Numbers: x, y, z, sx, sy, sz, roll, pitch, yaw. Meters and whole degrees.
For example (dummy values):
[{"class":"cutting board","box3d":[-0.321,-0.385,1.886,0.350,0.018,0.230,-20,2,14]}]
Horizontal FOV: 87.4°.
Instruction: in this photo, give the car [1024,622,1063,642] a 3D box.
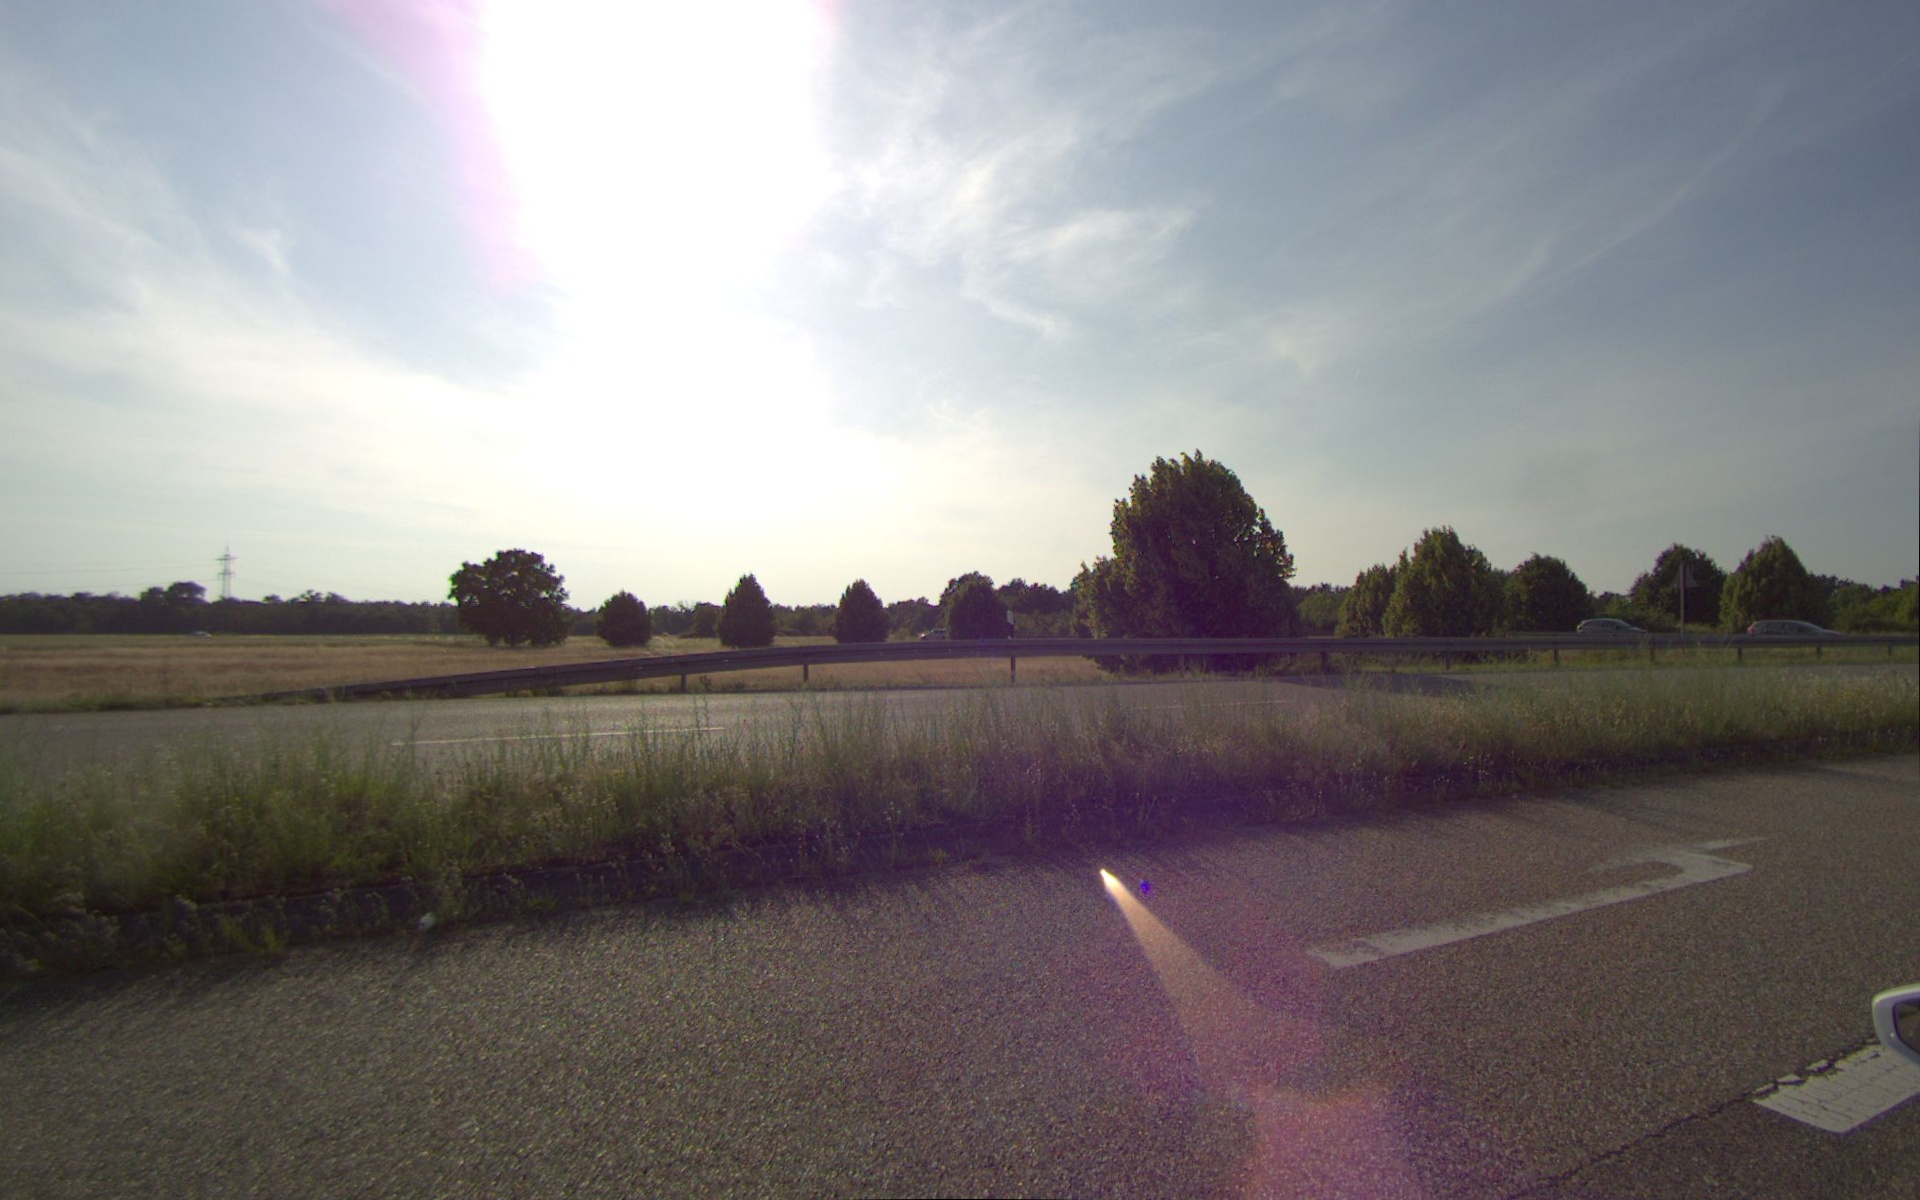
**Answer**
[{"class":"car","box3d":[9.618,3.698,115.911,3.935,2.040,1.993,2,0,37]}]

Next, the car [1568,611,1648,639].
[{"class":"car","box3d":[42.908,1.626,66.610,1.764,1.626,4.175,2,0,-21]}]
